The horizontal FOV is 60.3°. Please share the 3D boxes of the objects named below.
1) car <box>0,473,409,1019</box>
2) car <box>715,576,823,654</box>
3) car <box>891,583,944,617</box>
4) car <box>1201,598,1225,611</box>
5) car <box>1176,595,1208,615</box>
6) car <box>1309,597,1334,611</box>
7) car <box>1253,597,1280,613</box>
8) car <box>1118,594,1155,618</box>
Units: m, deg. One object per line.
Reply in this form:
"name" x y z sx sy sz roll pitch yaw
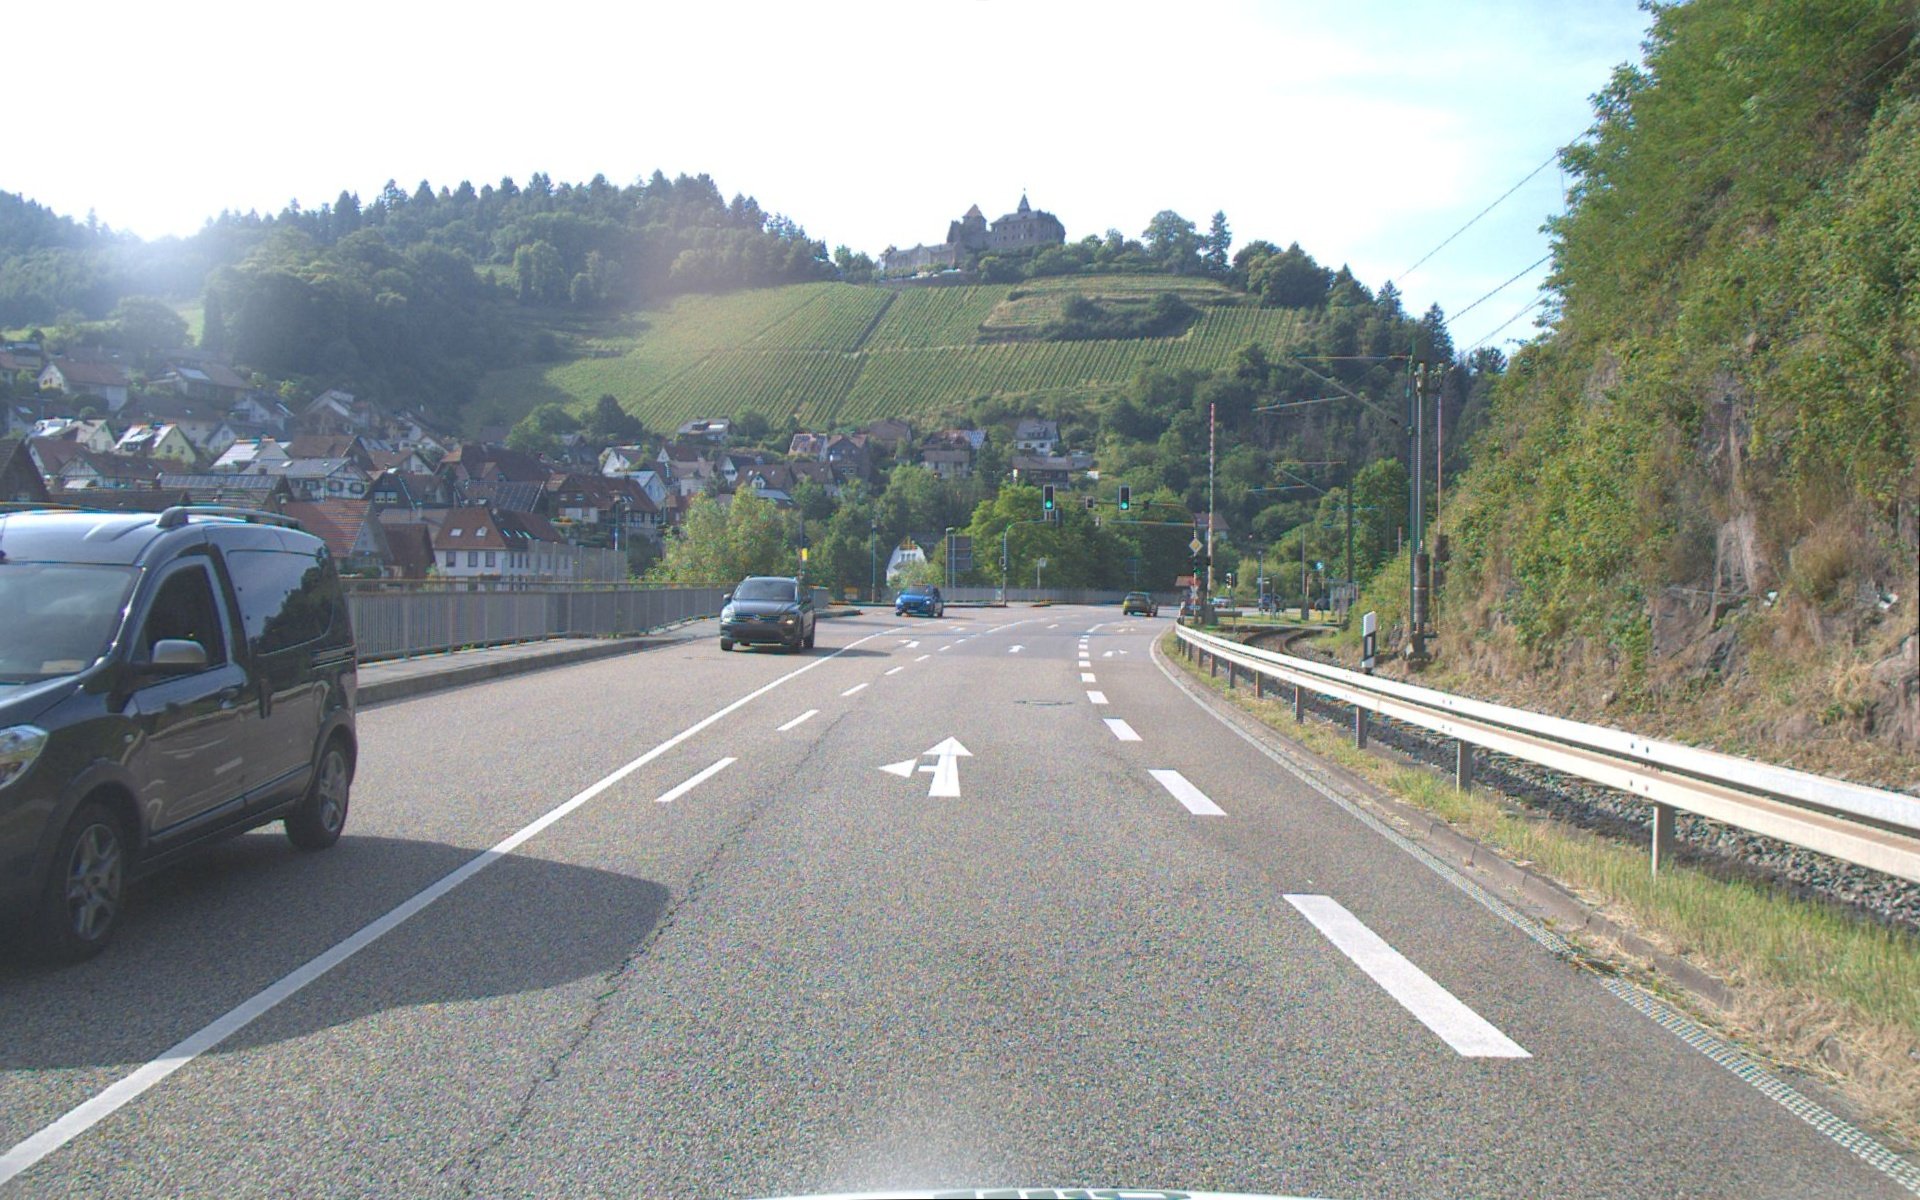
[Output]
"car" -4.248 0.470 7.970 1.756 1.860 4.826 1 0 -3
"car" -4.353 0.319 38.406 1.779 1.675 4.614 1 0 2
"car" -1.999 -0.020 78.439 1.744 1.508 4.529 2 0 8
"car" 25.762 0.487 168.422 1.611 1.253 4.094 2 1 20
"car" 17.724 0.417 126.086 1.801 1.485 3.714 0 -1 18
"car" 38.914 0.432 177.848 1.773 1.433 3.770 0 -1 26
"car" 28.753 0.510 155.193 1.770 1.478 3.646 0 -1 22
"car" 11.254 0.387 105.342 1.692 1.482 3.412 0 -1 17
